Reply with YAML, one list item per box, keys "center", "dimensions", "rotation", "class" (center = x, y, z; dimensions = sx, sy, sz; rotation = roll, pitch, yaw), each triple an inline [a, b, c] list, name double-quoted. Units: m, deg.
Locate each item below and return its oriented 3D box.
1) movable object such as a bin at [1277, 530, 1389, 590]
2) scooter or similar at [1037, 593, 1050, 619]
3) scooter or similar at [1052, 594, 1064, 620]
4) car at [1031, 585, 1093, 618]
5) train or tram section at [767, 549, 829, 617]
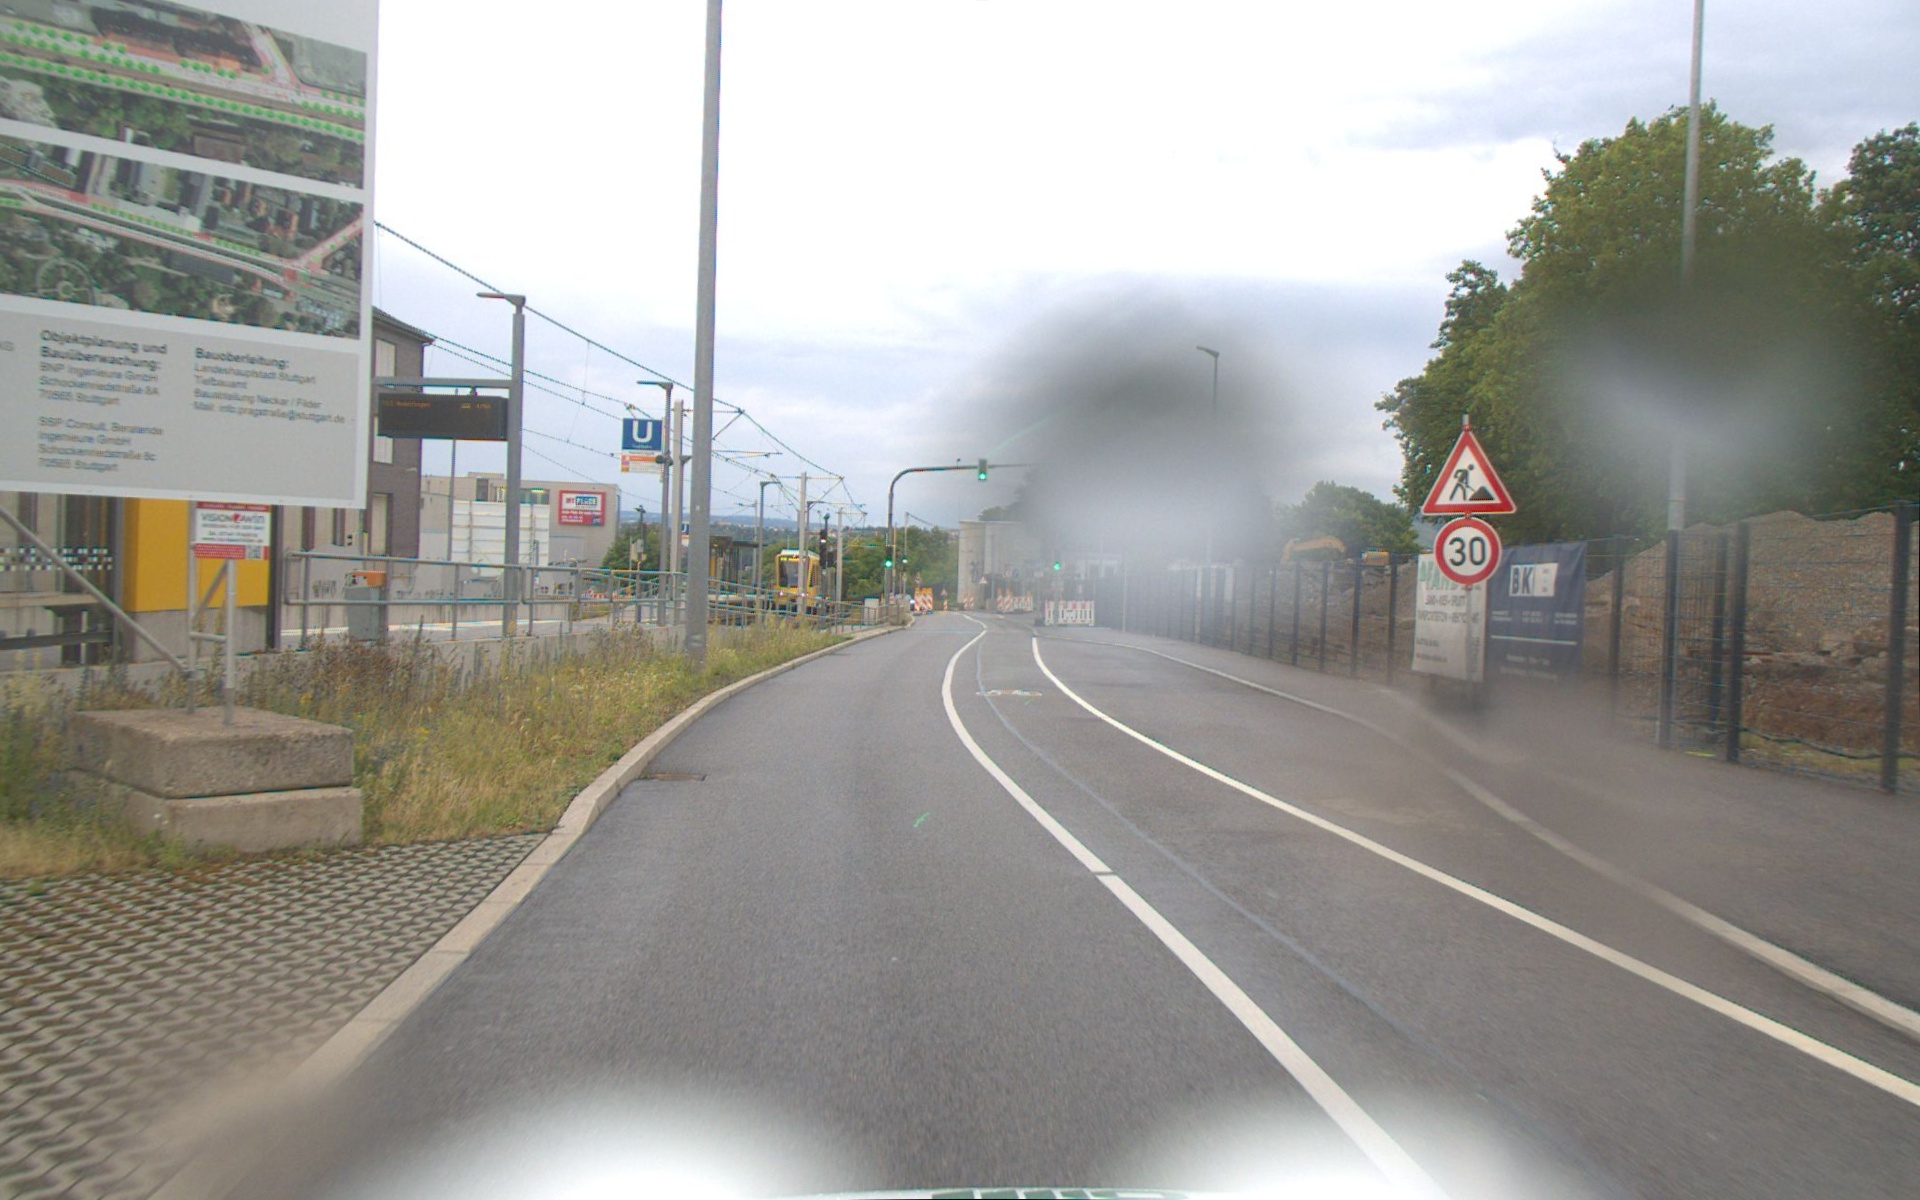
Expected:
- center: [38.677, -4.101, 171.824]
  dimensions: [10.993, 6.100, 3.493]
  rotation: [0, 0, 6]
  class: "movable object such as a bin"
- center: [4.471, 0.314, 88.141]
  dimensions: [0.602, 1.375, 1.913]
  rotation: [1, 0, 5]
  class: "scooter or similar"
- center: [5.232, 0.350, 88.127]
  dimensions: [0.602, 1.375, 1.913]
  rotation: [1, 0, 5]
  class: "scooter or similar"
- center: [5.836, 0.096, 94.224]
  dimensions: [1.785, 1.825, 4.401]
  rotation: [1, 0, 29]
  class: "car"
- center: [-10.425, -1.046, 108.304]
  dimensions: [2.896, 3.953, 19.562]
  rotation: [2, 0, -3]
  class: "train or tram section"
